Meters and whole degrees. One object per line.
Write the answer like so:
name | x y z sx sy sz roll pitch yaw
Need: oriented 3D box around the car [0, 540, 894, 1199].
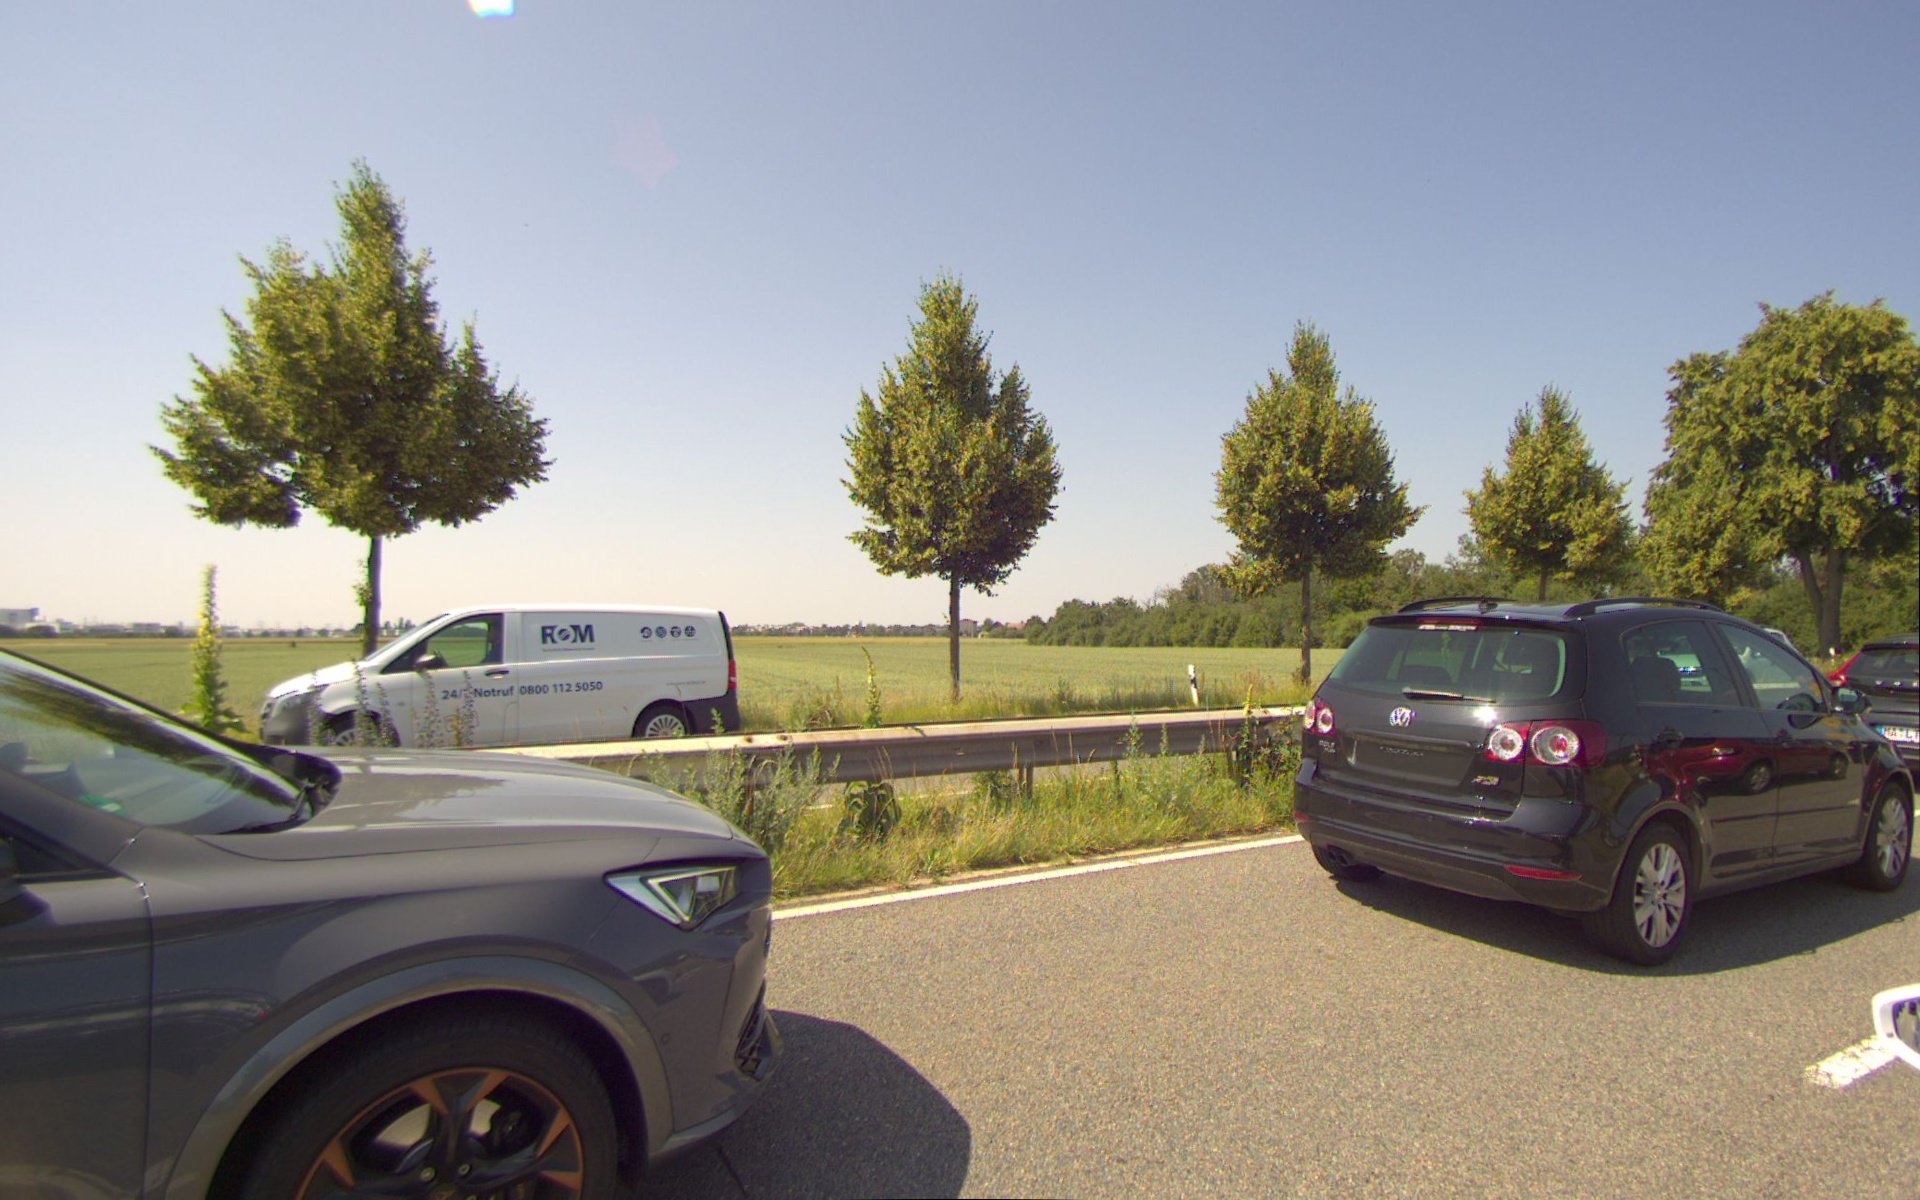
car | -2.442 0.662 1.991 4.312 1.523 1.737 1 0 -31

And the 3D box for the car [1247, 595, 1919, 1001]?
car | 3.641 0.795 5.659 3.846 1.597 1.715 1 0 -30

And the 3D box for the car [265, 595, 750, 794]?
car | -5.239 0.999 12.069 4.960 1.956 1.983 1 -2 -32

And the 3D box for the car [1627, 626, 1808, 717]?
car | 15.320 1.361 20.259 4.094 1.660 1.734 1 -2 -35

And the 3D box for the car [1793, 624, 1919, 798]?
car | 9.880 0.982 9.602 3.908 1.461 1.694 1 0 -30
